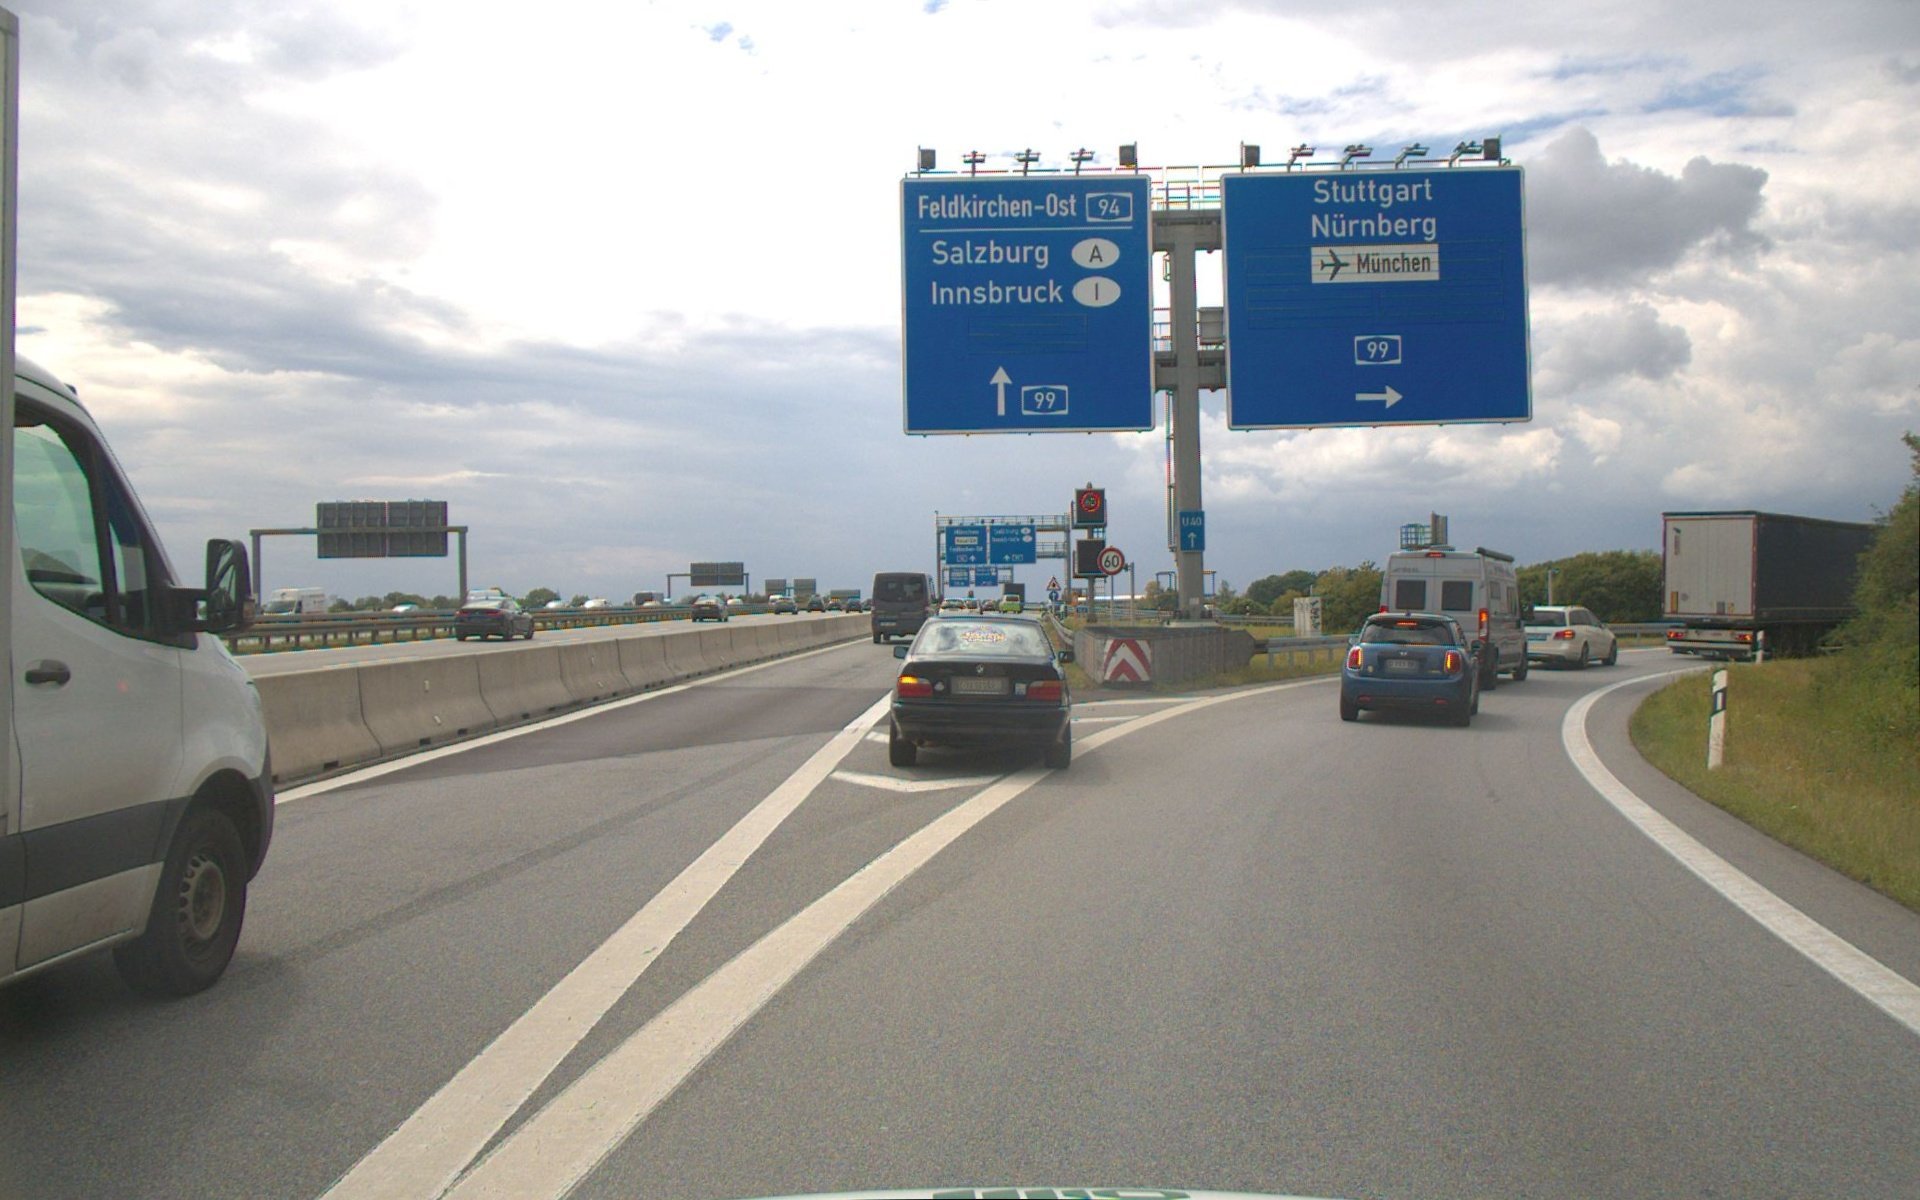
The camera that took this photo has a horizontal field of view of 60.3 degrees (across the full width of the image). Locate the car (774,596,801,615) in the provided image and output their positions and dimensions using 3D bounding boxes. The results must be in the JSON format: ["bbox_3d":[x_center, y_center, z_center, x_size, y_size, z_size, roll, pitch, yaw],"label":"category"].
[{"bbox_3d":[-15.344,0.510,147.497,1.862,1.669,4.645,0,0,0],"label":"car"}]

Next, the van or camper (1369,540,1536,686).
[{"bbox_3d":[9.917,0.232,32.920,2.248,2.613,6.155,0,0,25],"label":"van or camper"}]

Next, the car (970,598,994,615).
[{"bbox_3d":[1.988,0.616,148.531,1.951,1.494,4.002,0,0,4],"label":"car"}]

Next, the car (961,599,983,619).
[{"bbox_3d":[0.883,0.651,122.406,1.552,1.510,3.535,0,0,1],"label":"car"}]

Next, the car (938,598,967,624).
[{"bbox_3d":[-0.445,0.627,96.858,1.666,1.534,3.840,0,0,0],"label":"car"}]

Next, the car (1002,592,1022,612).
[{"bbox_3d":[5.560,0.226,178.003,1.953,2.049,3.999,0,0,-1],"label":"car"}]

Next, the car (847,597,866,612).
[{"bbox_3d":[-11.089,0.489,177.004,1.737,1.557,4.000,0,0,0],"label":"car"}]

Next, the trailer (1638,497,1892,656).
[{"bbox_3d":[24.804,-0.613,50.389,3.284,4.266,12.945,0,0,43],"label":"trailer"}]

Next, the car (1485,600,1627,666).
[{"bbox_3d":[14.846,0.774,41.059,2.168,1.527,4.770,0,0,35],"label":"car"}]

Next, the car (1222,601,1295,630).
[{"bbox_3d":[18.725,0.960,103.809,1.982,1.803,4.183,0,0,-41],"label":"car"}]

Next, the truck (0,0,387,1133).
[{"bbox_3d":[-3.738,-0.155,4.037,2.354,3.144,6.371,0,0,1],"label":"truck"}]

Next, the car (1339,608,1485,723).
[{"bbox_3d":[6.382,0.856,23.115,1.693,1.444,3.666,1,0,20],"label":"car"}]

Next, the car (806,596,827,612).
[{"bbox_3d":[-15.555,0.437,179.847,1.862,1.667,4.233,1,0,0],"label":"car"}]

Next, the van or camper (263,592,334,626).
[{"bbox_3d":[-41.454,0.548,103.768,2.190,2.049,6.275,0,0,-3],"label":"van or camper"}]

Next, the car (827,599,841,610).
[{"bbox_3d":[-16.258,0.565,213.132,1.521,1.400,4.000,0,0,0],"label":"car"}]

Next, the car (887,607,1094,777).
[{"bbox_3d":[0.302,0.785,16.009,1.745,1.402,4.137,0,0,1],"label":"car"}]

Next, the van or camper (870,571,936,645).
[{"bbox_3d":[-1.901,0.254,56.713,1.958,2.412,6.127,0,0,1],"label":"van or camper"}]

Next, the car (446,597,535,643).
[{"bbox_3d":[-15.611,0.642,55.181,1.736,1.475,4.383,0,0,-1],"label":"car"}]

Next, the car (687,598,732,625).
[{"bbox_3d":[-14.853,0.676,98.357,2.017,1.554,4.567,0,0,-1],"label":"car"}]

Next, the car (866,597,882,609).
[{"bbox_3d":[-12.213,0.391,233.971,1.952,1.713,4.866,0,0,1],"label":"car"}]
